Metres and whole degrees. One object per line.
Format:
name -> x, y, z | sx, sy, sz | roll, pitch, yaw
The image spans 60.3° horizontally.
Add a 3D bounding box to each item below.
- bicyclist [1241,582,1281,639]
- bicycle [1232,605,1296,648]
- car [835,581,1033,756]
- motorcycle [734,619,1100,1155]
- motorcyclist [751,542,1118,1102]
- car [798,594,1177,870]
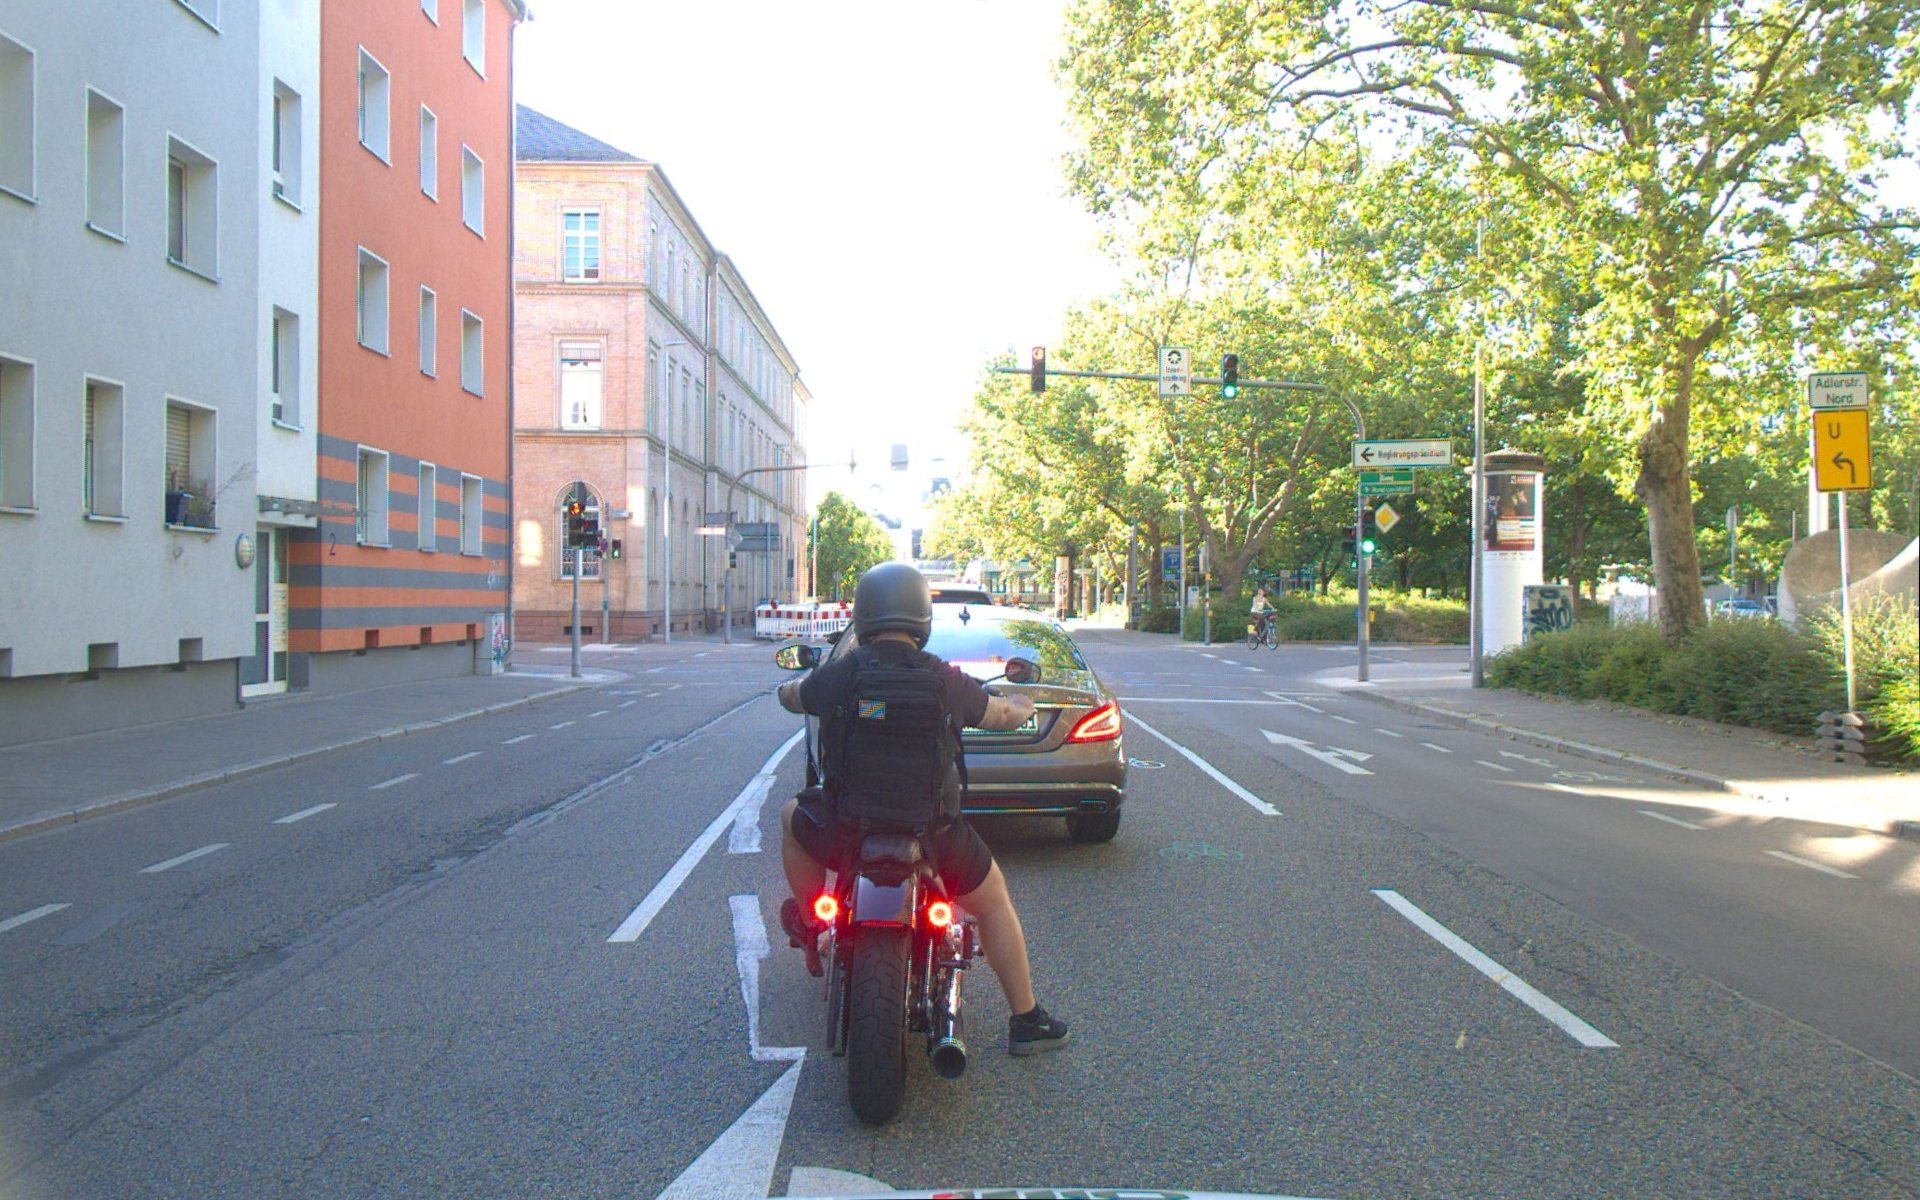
bicyclist -> 8.631, 0.291, 47.396 | 0.707, 1.610, 0.928 | 1, -1, -25
bicycle -> 8.671, 0.743, 47.281 | 0.706, 1.193, 2.159 | 1, 0, -24
car -> -0.343, 0.606, 16.752 | 1.777, 1.563, 3.846 | 0, 0, -3
motorcycle -> -0.128, 0.771, 5.521 | 0.942, 1.380, 2.319 | 1, 0, -1
motorcyclist -> -0.078, 0.646, 5.252 | 1.039, 1.610, 0.908 | 1, 0, -1
car -> -0.037, 0.697, 11.091 | 1.867, 1.466, 4.280 | 0, 0, -9
